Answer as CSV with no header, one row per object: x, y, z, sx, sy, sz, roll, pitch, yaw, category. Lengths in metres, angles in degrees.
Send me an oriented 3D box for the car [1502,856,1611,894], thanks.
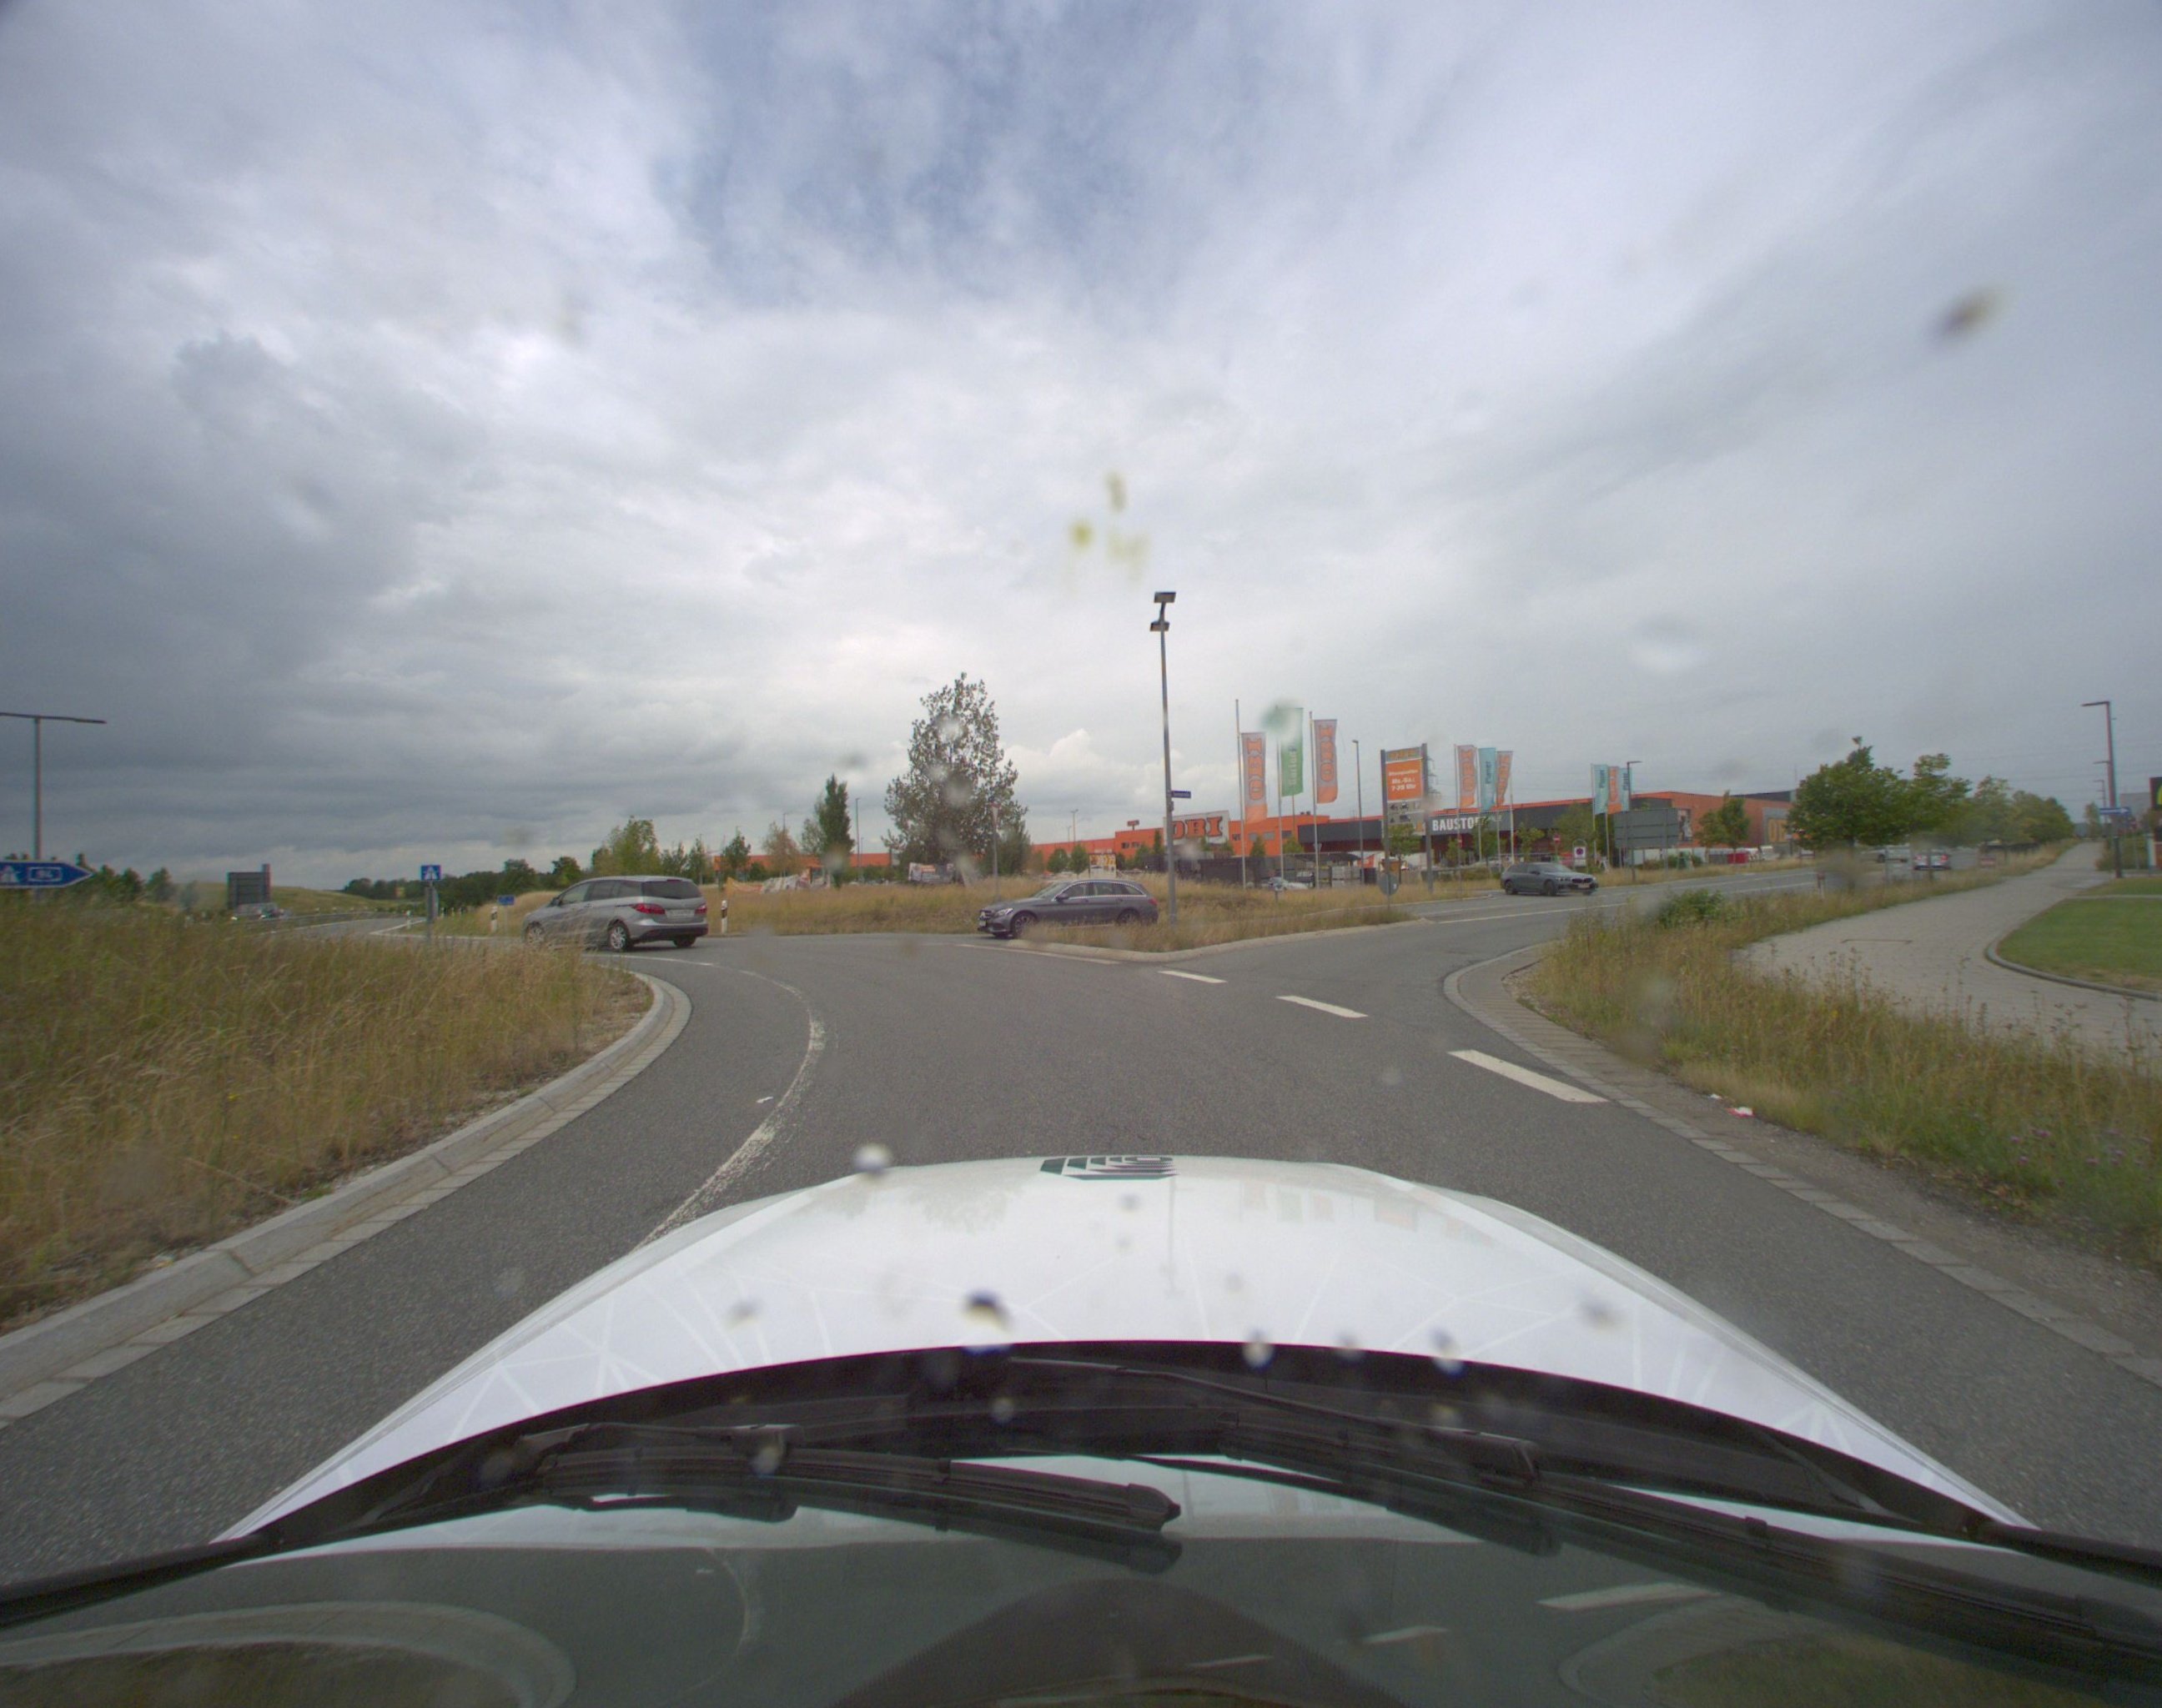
21.252,0.988,36.634,1.989,1.507,4.677,-1,-3,-2,car

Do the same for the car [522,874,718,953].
-10.191,1.269,18.000,3.948,1.599,1.753,-2,-2,24,car

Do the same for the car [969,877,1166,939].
-0.312,1.302,20.763,4.698,1.404,1.911,1,-2,-28,car

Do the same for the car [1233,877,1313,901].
11.874,2.137,50.638,1.753,1.404,4.701,1,-2,-41,car

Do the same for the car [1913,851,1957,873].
60.236,0.567,57.426,4.020,1.464,1.793,0,1,-39,car

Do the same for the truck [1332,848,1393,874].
29.539,0.783,85.584,2.453,2.484,5.482,2,-4,-42,truck
